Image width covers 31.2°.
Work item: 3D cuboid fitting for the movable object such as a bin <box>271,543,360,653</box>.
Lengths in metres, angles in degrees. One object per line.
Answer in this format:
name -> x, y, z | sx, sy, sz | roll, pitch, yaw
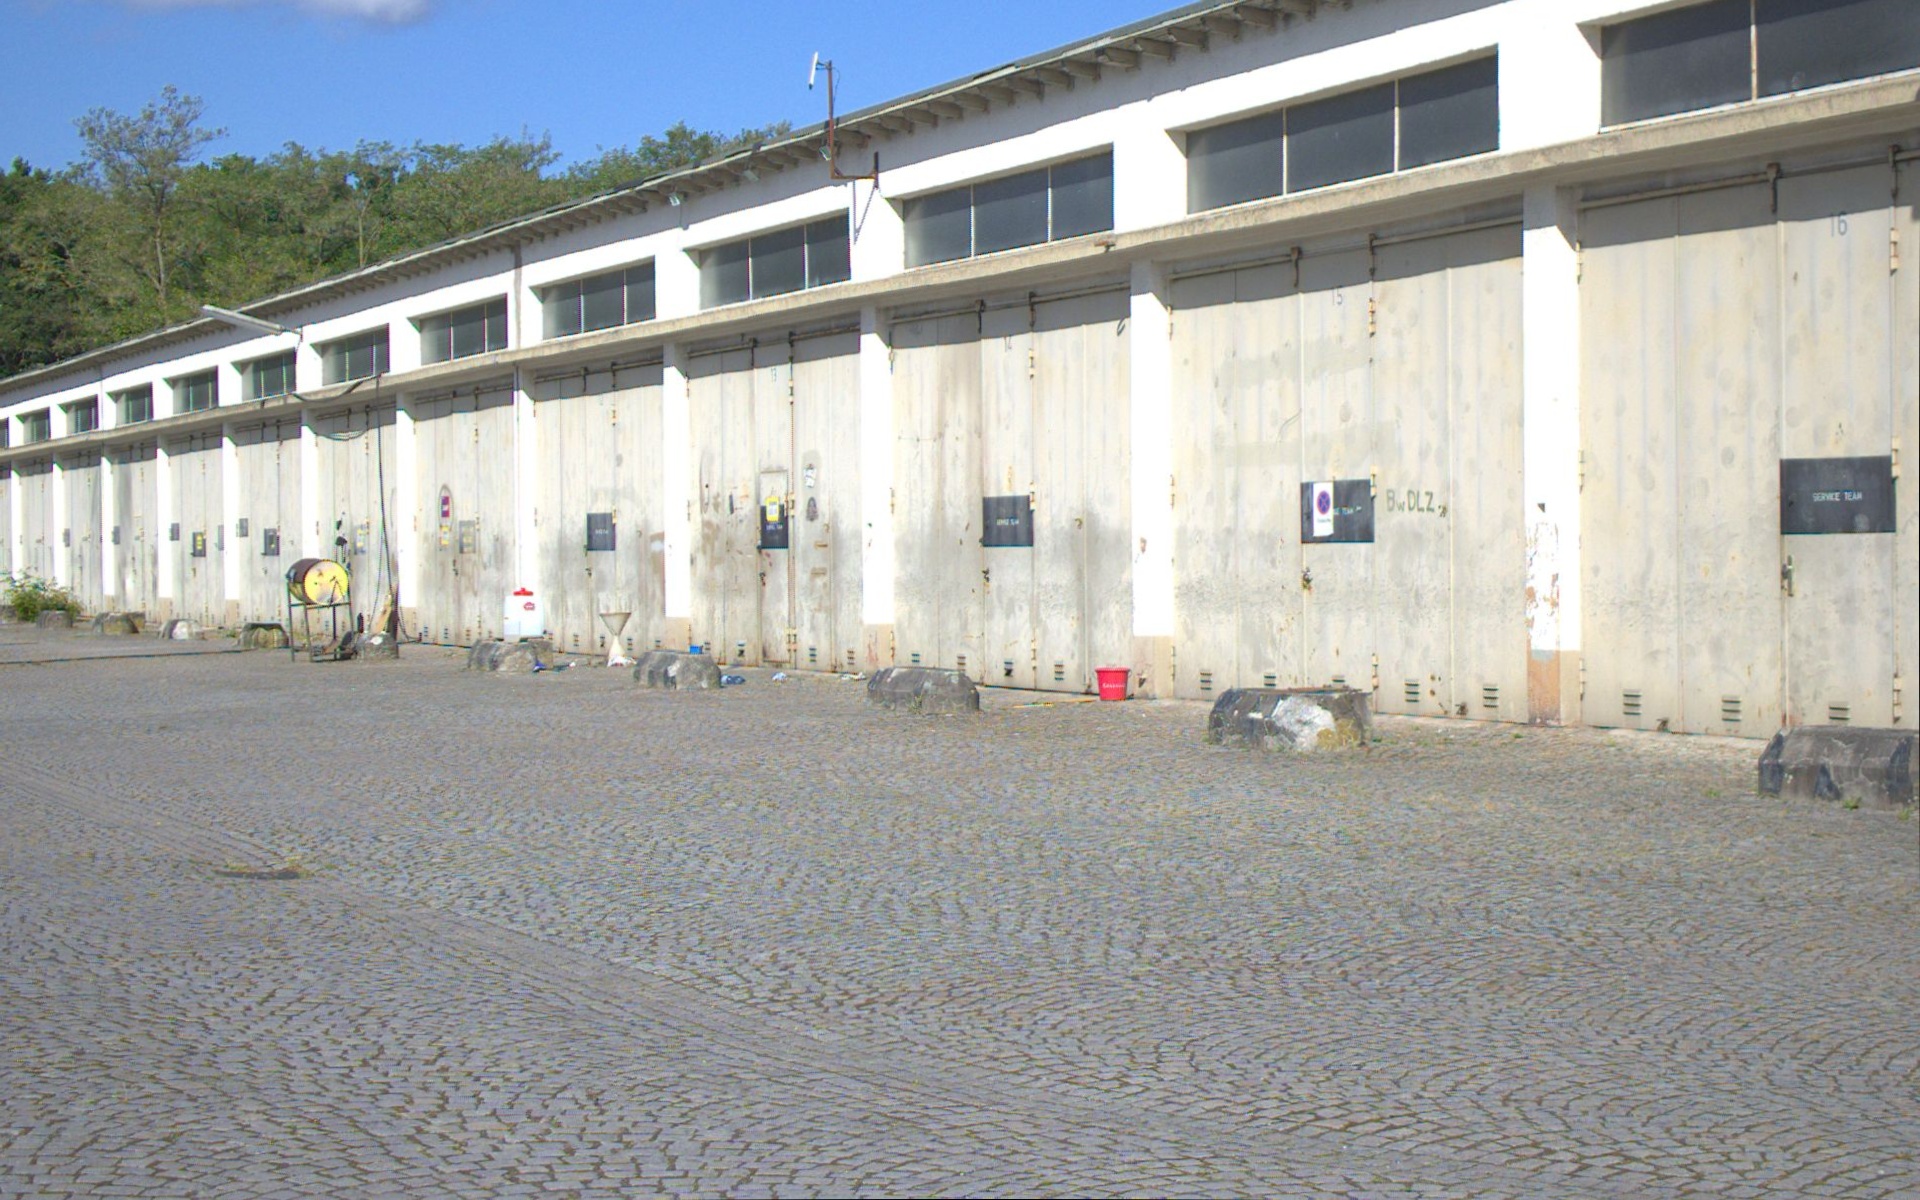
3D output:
movable object such as a bin -> -8.345, -0.034, 44.487 | 0.875, 1.396, 1.102 | -1, 1, -25
